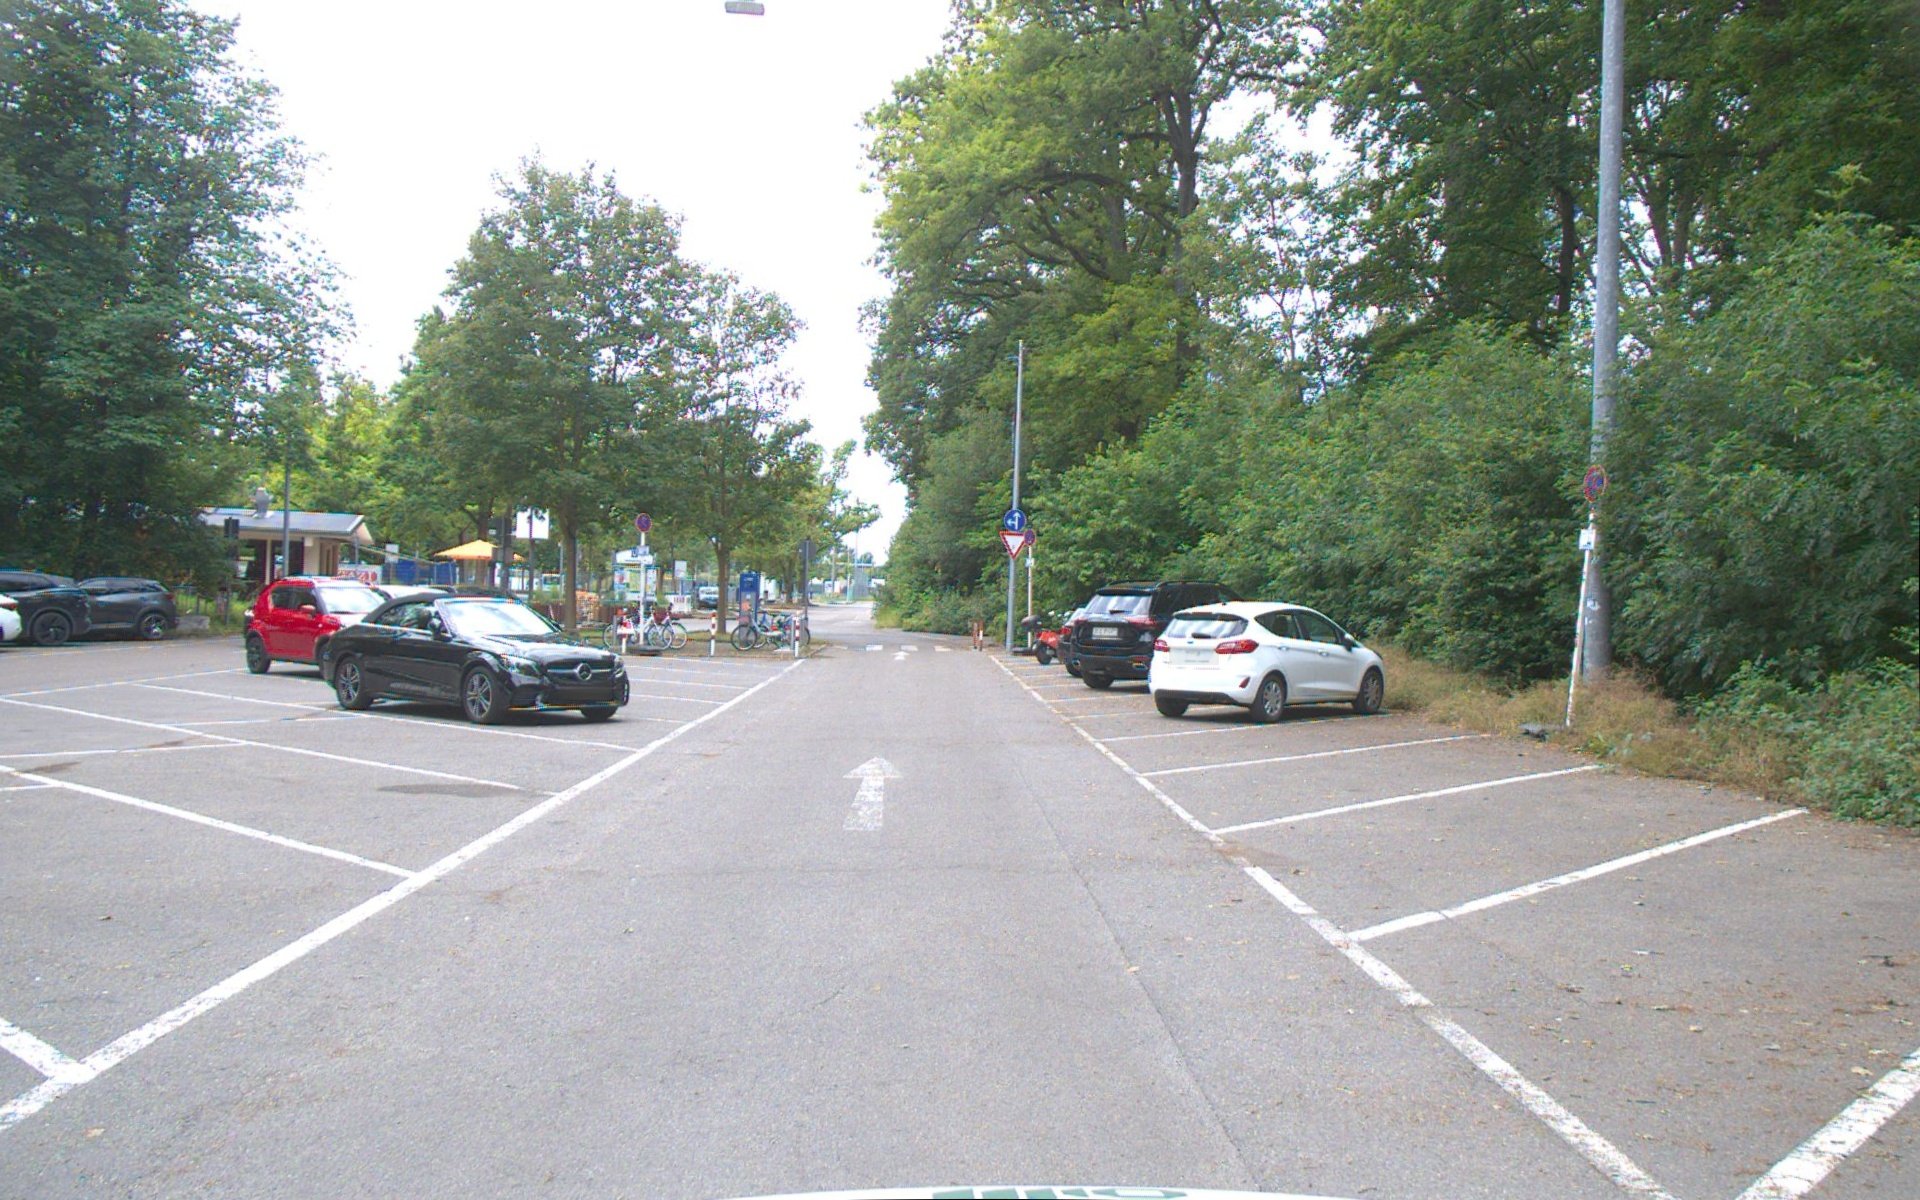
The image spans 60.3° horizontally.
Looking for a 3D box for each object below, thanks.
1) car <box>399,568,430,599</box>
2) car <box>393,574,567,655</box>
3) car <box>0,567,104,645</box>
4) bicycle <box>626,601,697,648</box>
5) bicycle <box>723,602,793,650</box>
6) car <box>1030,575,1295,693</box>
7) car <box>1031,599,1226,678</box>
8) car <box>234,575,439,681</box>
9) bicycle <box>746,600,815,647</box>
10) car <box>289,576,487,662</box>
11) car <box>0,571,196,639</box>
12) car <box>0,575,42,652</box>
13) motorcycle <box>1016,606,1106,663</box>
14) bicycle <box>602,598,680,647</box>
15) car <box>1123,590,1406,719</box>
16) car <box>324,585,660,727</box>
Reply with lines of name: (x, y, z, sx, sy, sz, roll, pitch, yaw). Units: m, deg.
car: (-37.365, -1.132, 113.335, 1.963, 2.049, 3.979, 1, 0, -18)
car: (-9.991, 0.260, 34.283, 1.817, 1.549, 4.034, 0, 1, -44)
car: (-20.567, 0.098, 34.777, 1.922, 1.607, 4.180, 1, 1, 41)
bicycle: (-7.399, 0.595, 41.001, 1.645, 1.131, 0.483, 1, 1, 1)
bicycle: (-5.027, 0.640, 41.101, 1.644, 1.131, 0.506, 1, 1, 4)
car: (3.494, 0.528, 27.900, 2.076, 1.798, 4.677, 1, 0, 43)
car: (3.321, 0.698, 32.125, 1.710, 1.400, 3.973, 2, 1, 43)
car: (-10.435, 0.418, 27.581, 3.587, 1.613, 1.678, 2, 1, 41)
bicycle: (-4.564, 0.594, 42.128, 1.656, 1.131, 0.483, 1, 1, 6)
car: (-10.968, 0.320, 31.620, 3.927, 1.509, 1.866, 2, 1, 41)
car: (-20.315, 0.105, 39.079, 1.669, 1.518, 3.769, 1, 1, 42)
car: (-20.044, 0.240, 31.582, 4.088, 1.463, 1.840, 0, 1, -44)
motorcycle: (2.251, 0.759, 36.784, 2.007, 1.229, 0.721, 0, 1, -37)
bicycle: (-7.622, 0.535, 39.552, 1.746, 1.131, 0.483, 1, 1, 1)
car: (4.116, 0.670, 21.992, 1.838, 1.537, 3.973, 1, 0, 43)
car: (-5.692, 0.599, 19.883, 4.237, 1.467, 1.859, 2, 1, 41)
